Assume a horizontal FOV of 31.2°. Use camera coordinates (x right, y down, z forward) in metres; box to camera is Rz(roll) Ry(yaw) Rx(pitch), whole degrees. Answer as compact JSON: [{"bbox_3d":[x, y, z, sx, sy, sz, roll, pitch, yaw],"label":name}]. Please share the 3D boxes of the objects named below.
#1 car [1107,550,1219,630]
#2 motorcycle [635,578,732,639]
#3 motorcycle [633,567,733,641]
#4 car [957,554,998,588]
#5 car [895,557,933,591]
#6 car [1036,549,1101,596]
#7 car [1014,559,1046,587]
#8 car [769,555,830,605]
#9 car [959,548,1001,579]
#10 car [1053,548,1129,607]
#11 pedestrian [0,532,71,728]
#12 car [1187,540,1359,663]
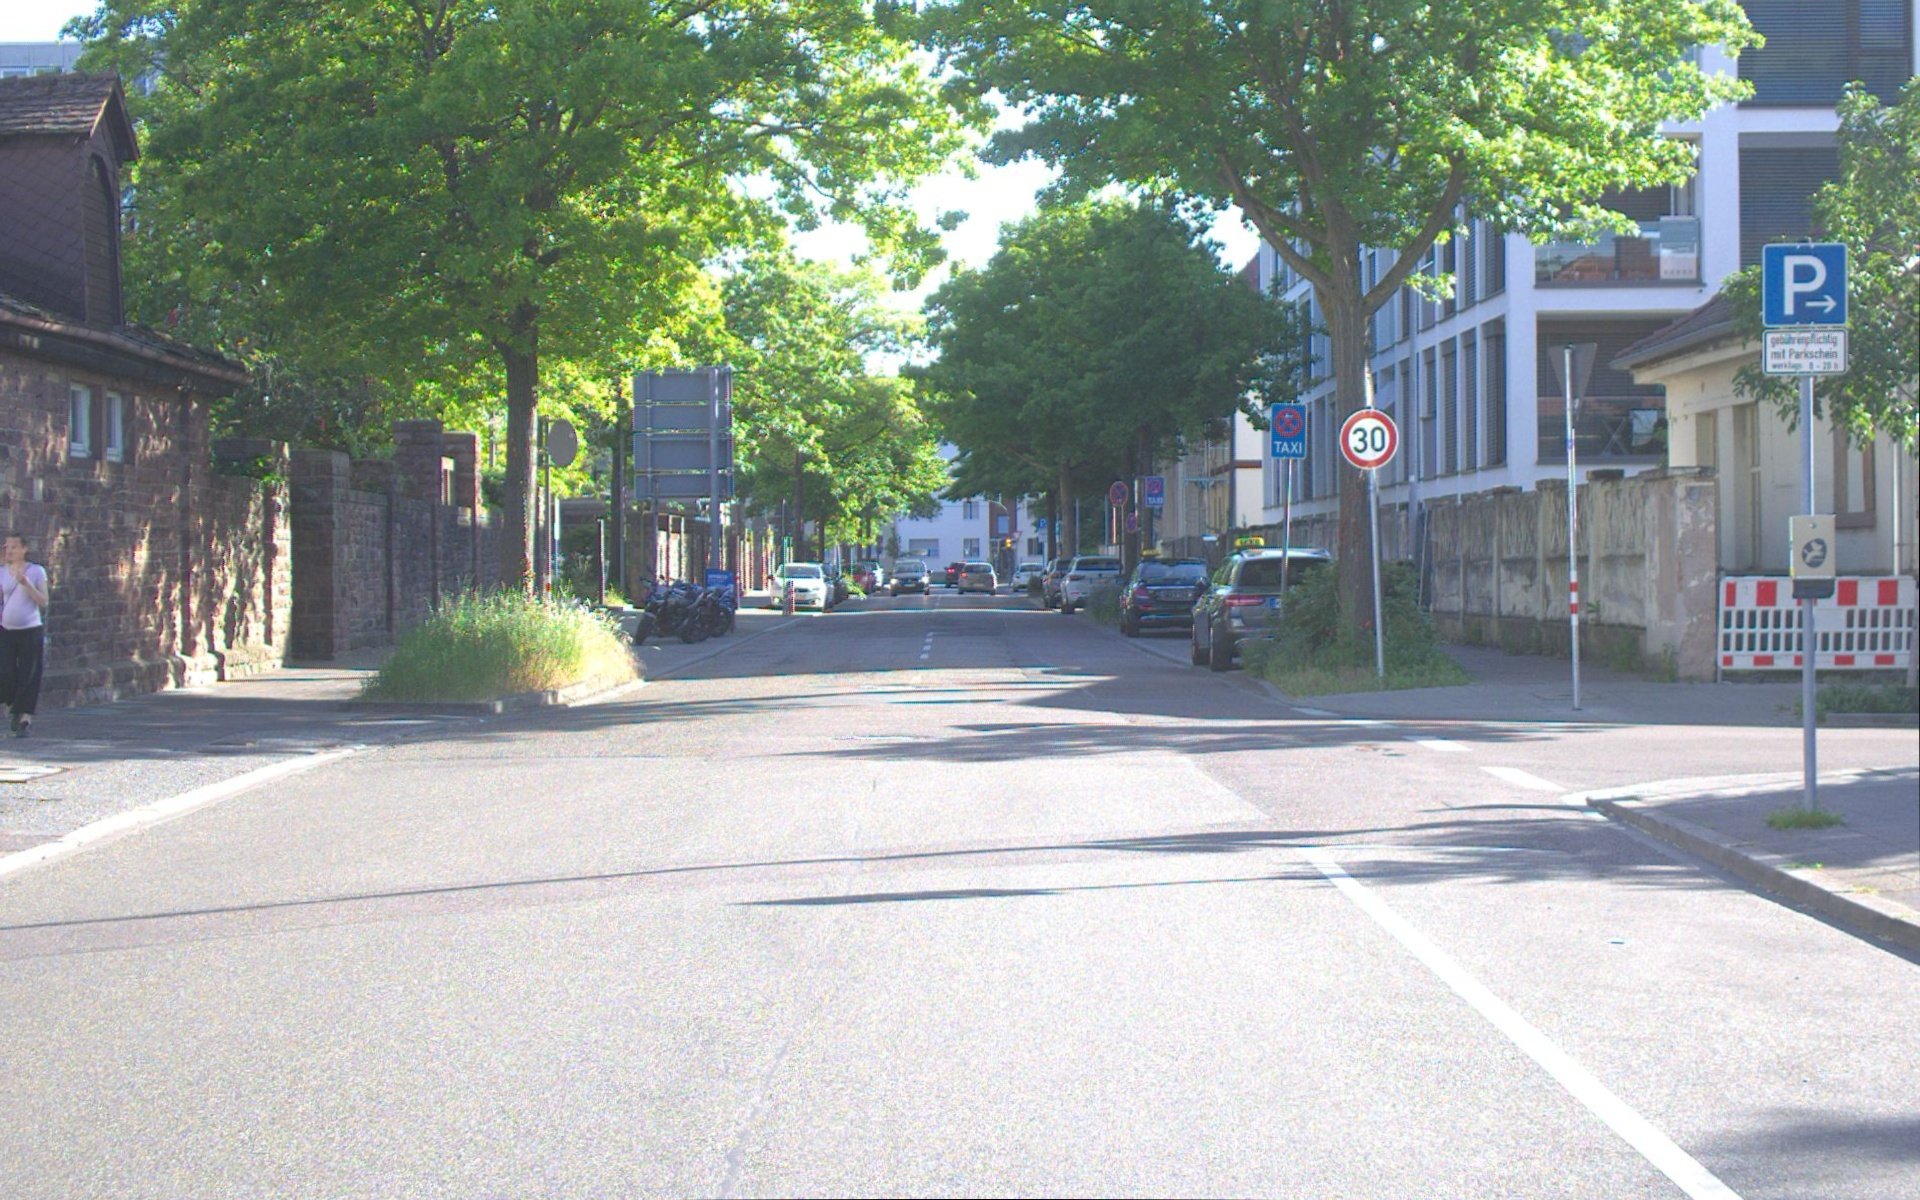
[{"bbox_3d":[3.770,-0.199,64.488,1.767,1.435,4.000,-1,1,-1],"label":"car"},{"bbox_3d":[-5.020,0.142,62.576,0.577,1.071,2.118,0,1,33],"label":"motorcycle"},{"bbox_3d":[-4.917,0.060,61.142,0.577,1.271,2.118,0,1,33],"label":"motorcycle"},{"bbox_3d":[0.804,-1.339,157.284,1.767,1.543,4.066,-1,1,-1],"label":"car"},{"bbox_3d":[-2.069,-1.197,156.130,1.653,1.525,4.000,0,1,0],"label":"car"},{"bbox_3d":[3.409,-0.884,108.673,1.993,1.460,3.836,0,1,1],"label":"car"},{"bbox_3d":[3.557,-1.382,174.386,1.585,1.395,3.836,0,1,1],"label":"car"},{"bbox_3d":[-4.923,-0.622,105.648,1.767,1.482,4.000,-1,1,-1],"label":"car"},{"bbox_3d":[0.921,-1.691,157.342,1.889,1.395,3.836,0,1,1],"label":"car"},{"bbox_3d":[3.532,-0.616,93.052,1.950,1.573,3.836,0,1,1],"label":"car"},{"bbox_3d":[-7.604,0.231,27.846,0.521,1.557,1.096,0,1,-1],"label":"pedestrian"},{"bbox_3d":[3.868,-0.011,43.133,1.703,1.463,4.789,0,1,0],"label":"car"}]
